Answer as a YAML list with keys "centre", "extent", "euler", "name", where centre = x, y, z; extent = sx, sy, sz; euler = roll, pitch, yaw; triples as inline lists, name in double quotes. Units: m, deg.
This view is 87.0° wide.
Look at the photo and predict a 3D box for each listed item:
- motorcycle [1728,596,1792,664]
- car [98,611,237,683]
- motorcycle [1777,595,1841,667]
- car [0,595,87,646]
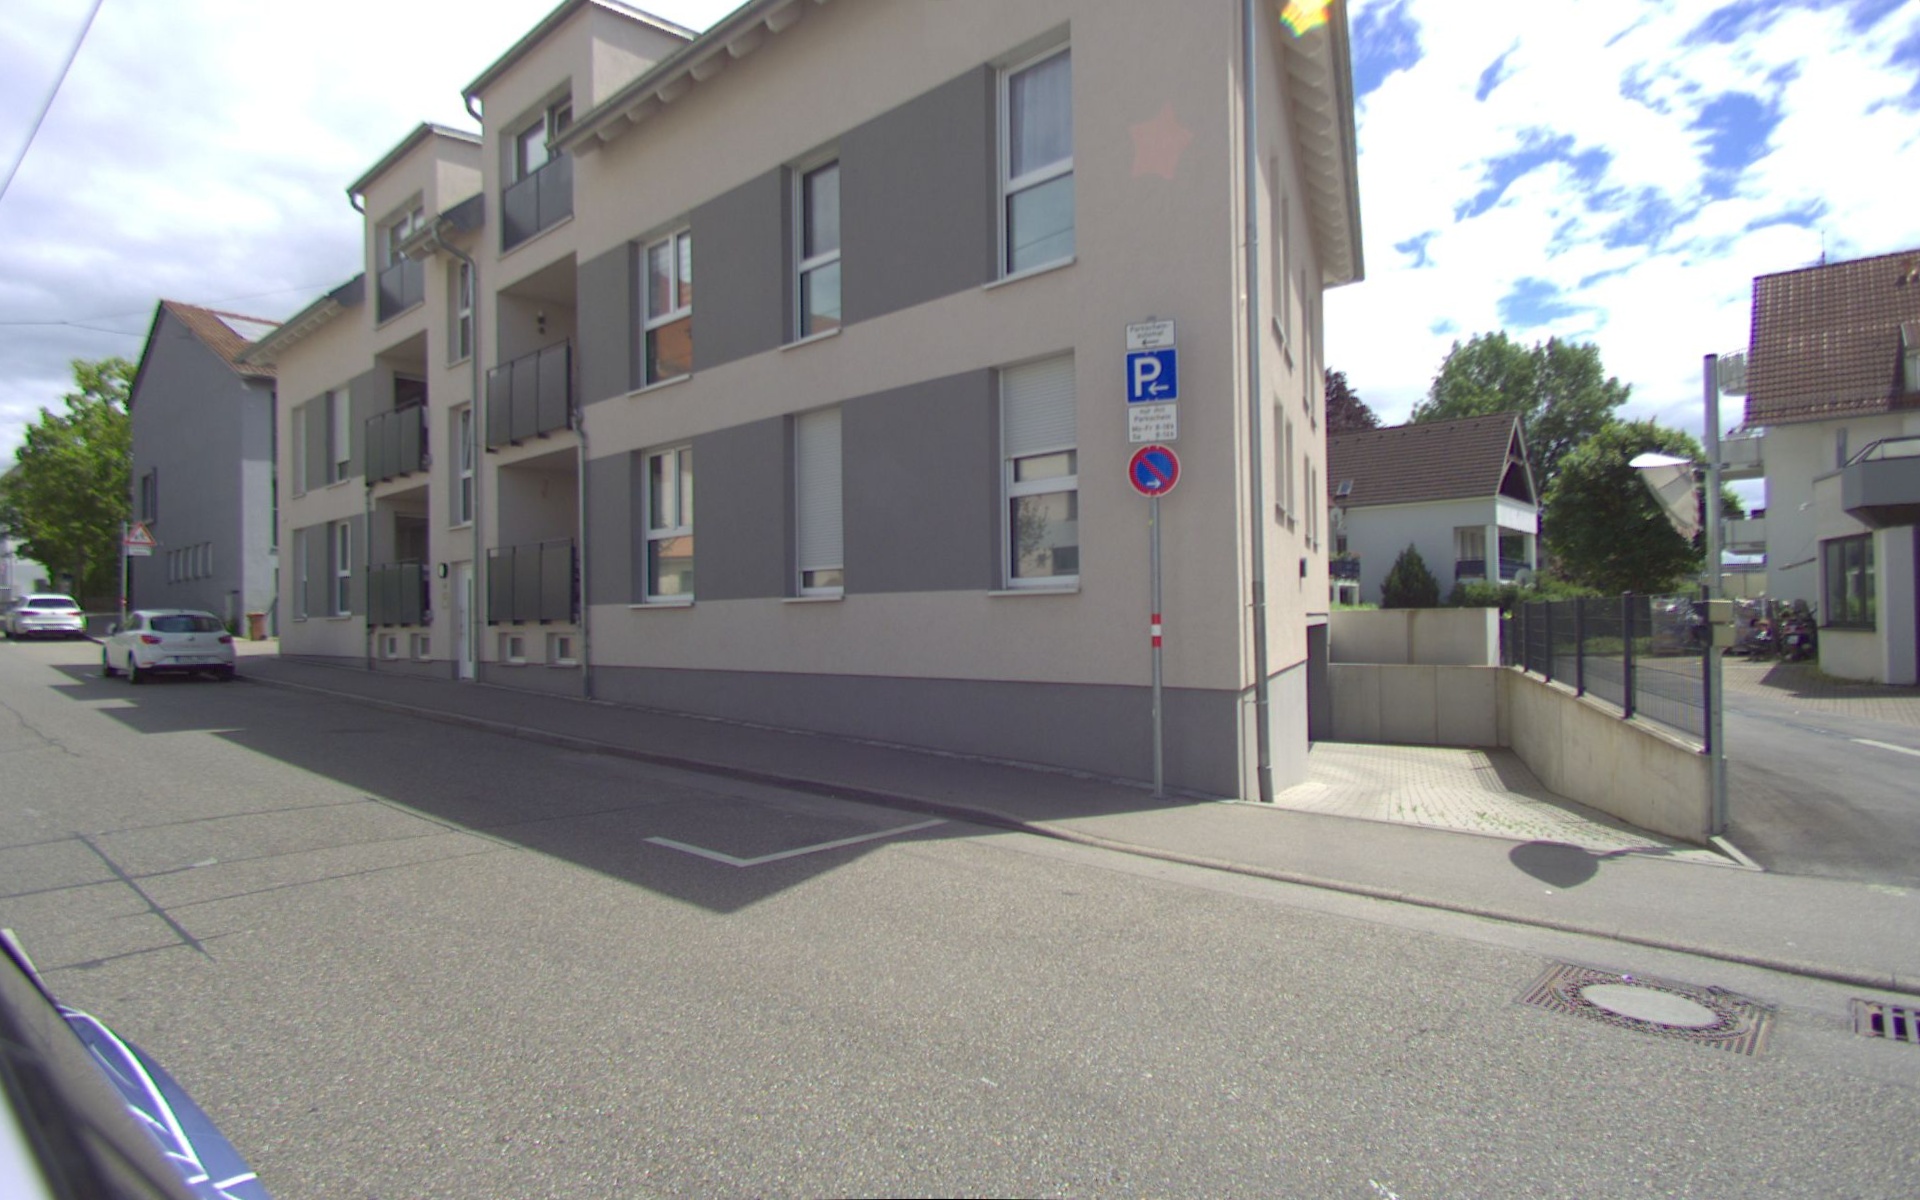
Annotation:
- centre: [19.311, 0.688, 24.376]
  extent: [0.860, 1.530, 3.567]
  euler: [-2, -1, 44]
  name: "motorcycle"
- centre: [-16.229, 0.911, 20.685]
  extent: [3.472, 1.340, 1.644]
  euler: [-1, -1, 42]
  name: "car"
- centre: [19.410, 0.668, 23.089]
  extent: [0.860, 1.530, 3.749]
  euler: [-2, -1, 44]
  name: "motorcycle"
- centre: [-29.644, 0.626, 32.631]
  extent: [4.065, 1.499, 1.714]
  euler: [1, 0, 42]
  name: "car"
